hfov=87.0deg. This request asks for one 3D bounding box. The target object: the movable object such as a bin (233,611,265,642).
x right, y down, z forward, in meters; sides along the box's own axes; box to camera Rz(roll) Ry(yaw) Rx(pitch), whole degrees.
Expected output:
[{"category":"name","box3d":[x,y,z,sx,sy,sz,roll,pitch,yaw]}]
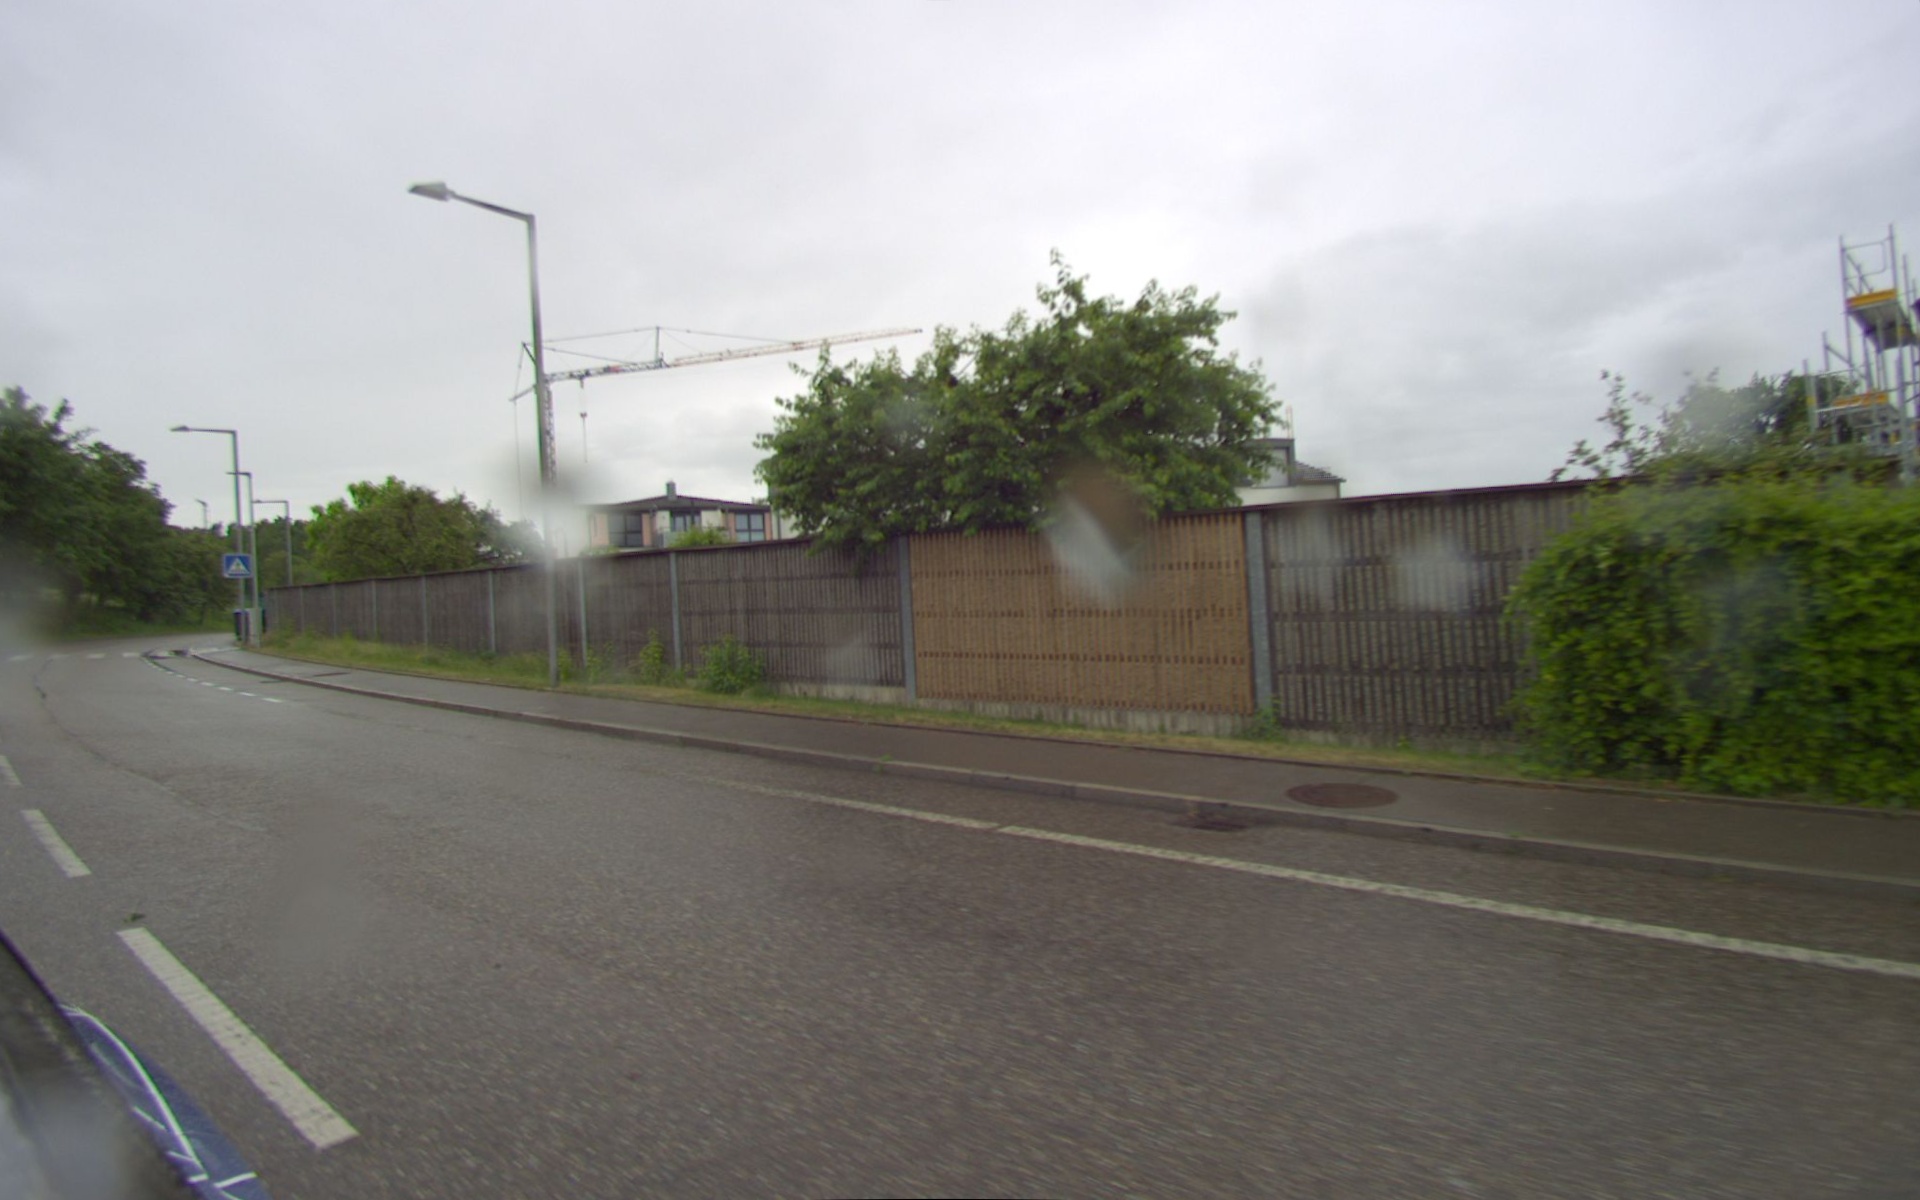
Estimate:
[{"category":"movable object such as a bin","box3d":[-33.146,1.238,47.189,1.116,1.349,1.402,-5,2,-34]}]

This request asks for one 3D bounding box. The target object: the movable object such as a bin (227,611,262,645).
[{"category":"movable object such as a bin","box3d":[-31.176,1.213,44.134,1.116,1.331,1.366,-6,2,-34]}]
